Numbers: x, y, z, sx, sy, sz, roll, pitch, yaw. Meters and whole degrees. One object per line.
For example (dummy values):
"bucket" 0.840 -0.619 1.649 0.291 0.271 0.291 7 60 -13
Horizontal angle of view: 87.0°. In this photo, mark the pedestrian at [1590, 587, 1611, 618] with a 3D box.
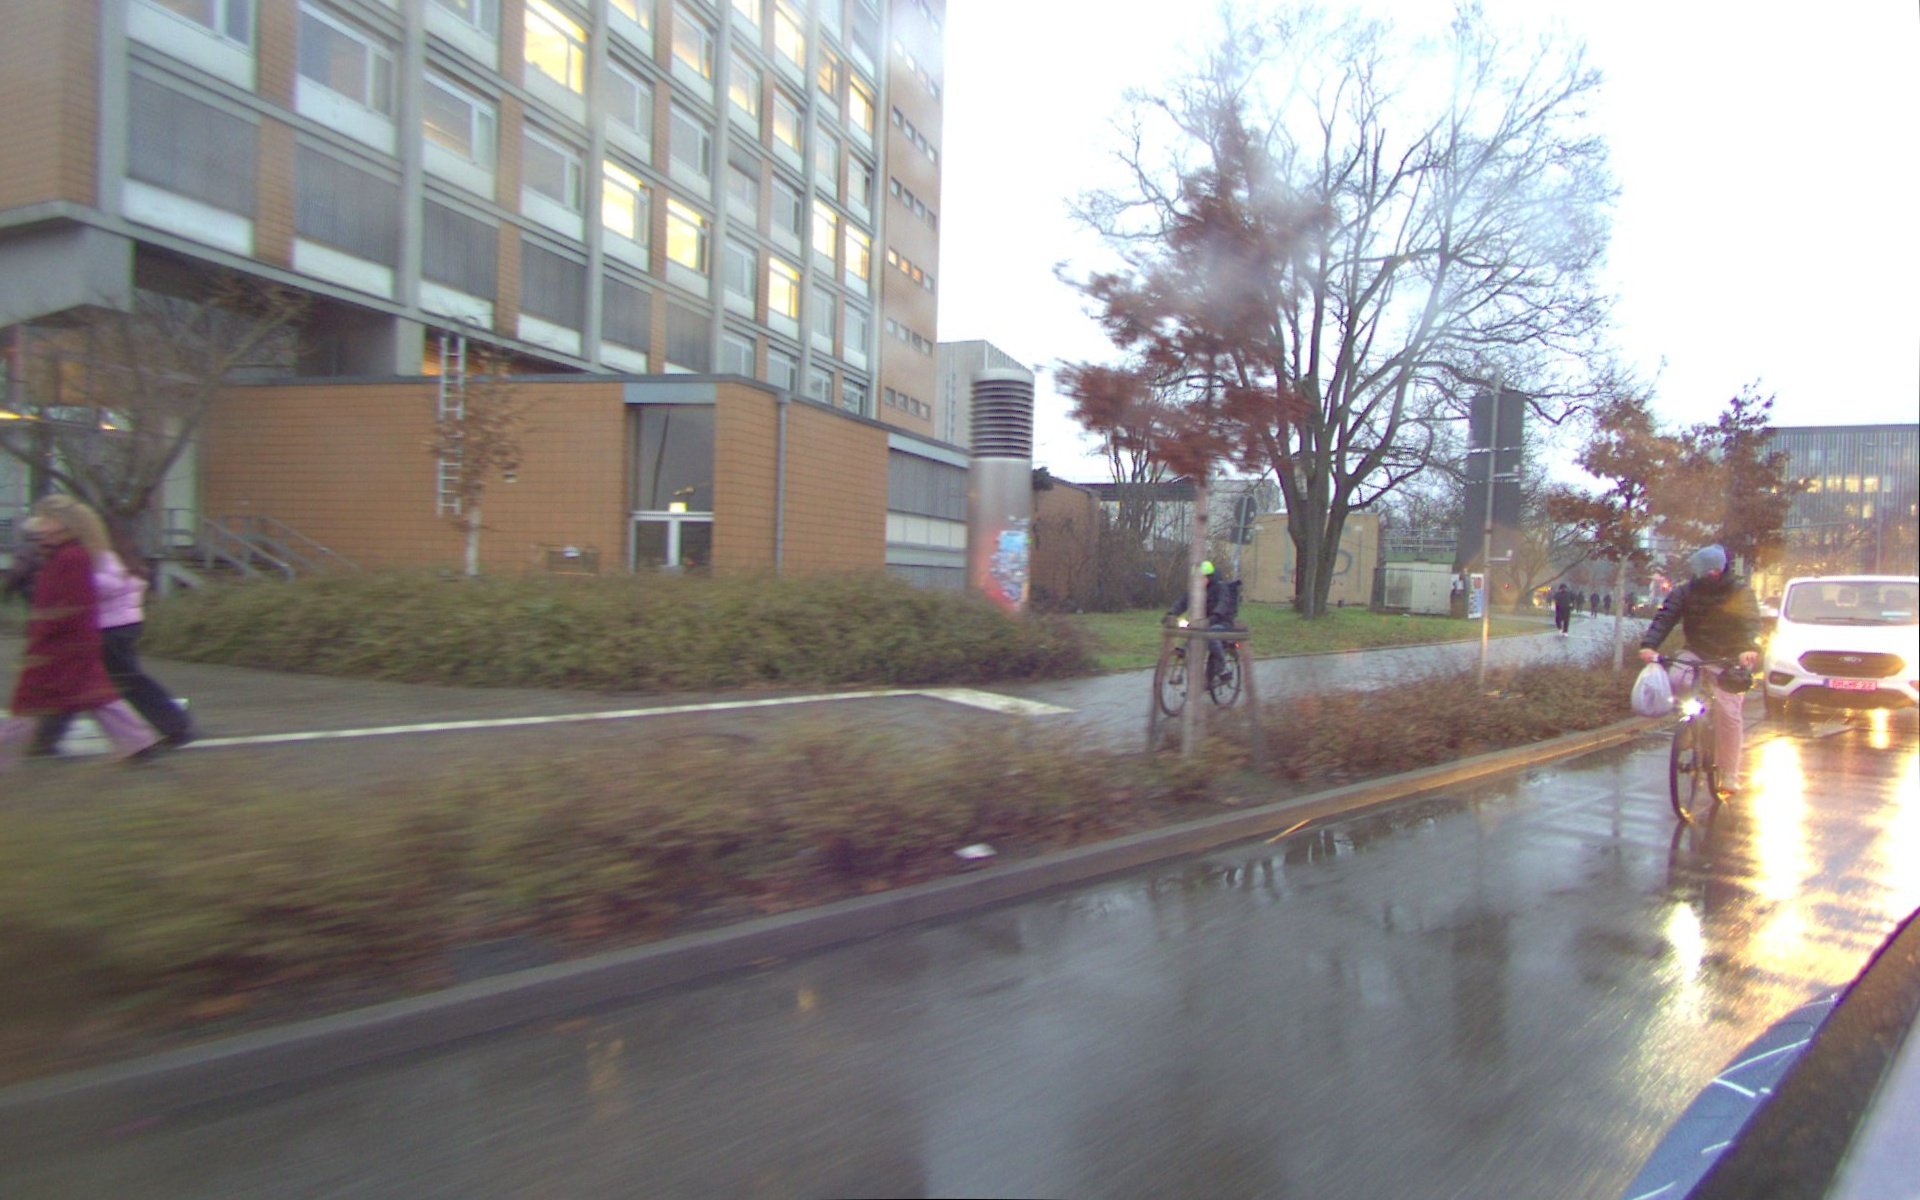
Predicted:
"pedestrian" 39.536 0.174 62.447 0.924 1.848 0.826 3 2 27

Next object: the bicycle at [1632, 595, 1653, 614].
"bicycle" 44.333 0.287 65.794 0.799 1.155 2.192 5 3 28

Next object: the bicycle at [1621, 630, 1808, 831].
"bicycle" 5.619 0.872 7.494 1.872 1.238 0.793 0 0 -43

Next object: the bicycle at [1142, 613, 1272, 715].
"bicycle" 2.841 0.679 11.464 0.561 0.958 2.065 3 3 40

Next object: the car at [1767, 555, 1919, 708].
"car" 13.557 0.484 15.073 2.130 1.945 4.940 2 -1 41

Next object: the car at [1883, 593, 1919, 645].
"car" 30.210 0.653 30.820 4.229 1.523 1.758 3 -1 -28

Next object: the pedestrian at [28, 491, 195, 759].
"pedestrian" -5.719 0.156 6.859 0.599 1.708 0.671 3 2 -15

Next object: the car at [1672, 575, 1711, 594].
"car" 65.163 -1.386 90.221 1.981 1.586 4.719 4 3 26

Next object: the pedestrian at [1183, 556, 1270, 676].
"pedestrian" 4.039 0.222 15.331 0.808 1.708 1.053 4 3 43

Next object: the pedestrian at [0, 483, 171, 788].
"pedestrian" -5.504 0.200 6.303 0.753 1.803 0.587 1 2 -15

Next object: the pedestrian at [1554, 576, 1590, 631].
"pedestrian" 20.014 0.113 33.091 0.906 1.708 0.917 4 1 32

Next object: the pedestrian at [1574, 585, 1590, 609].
"pedestrian" 49.300 -0.223 80.217 0.924 1.848 0.826 3 2 27

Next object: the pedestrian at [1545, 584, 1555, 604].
"pedestrian" 61.316 -0.655 105.194 0.758 2.038 0.766 2 1 25

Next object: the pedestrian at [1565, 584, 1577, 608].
"pedestrian" 53.254 -0.376 88.226 0.758 2.038 0.903 2 2 25

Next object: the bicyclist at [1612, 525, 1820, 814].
"bicyclist" 5.597 0.452 7.487 1.215 1.907 1.025 0 0 -43

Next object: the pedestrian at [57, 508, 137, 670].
"pedestrian" -10.030 -0.137 11.764 0.579 1.813 0.554 2 1 32

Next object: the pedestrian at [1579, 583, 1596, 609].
"pedestrian" 47.018 -0.305 75.865 0.924 1.848 0.826 3 2 27

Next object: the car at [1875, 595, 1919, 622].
"car" 55.091 0.498 58.617 1.913 1.393 4.458 3 2 26

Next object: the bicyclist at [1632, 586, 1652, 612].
"bicyclist" 44.395 -0.068 65.880 0.799 1.637 1.075 5 3 28

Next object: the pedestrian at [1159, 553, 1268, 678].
"pedestrian" 2.880 0.148 11.489 0.874 1.333 0.835 3 2 42

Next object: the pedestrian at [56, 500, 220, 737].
"pedestrian" -6.261 0.128 7.752 0.744 1.708 0.722 1 1 -16

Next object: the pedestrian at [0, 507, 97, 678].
"pedestrian" -10.255 -0.094 11.283 0.847 1.813 0.740 2 1 32
